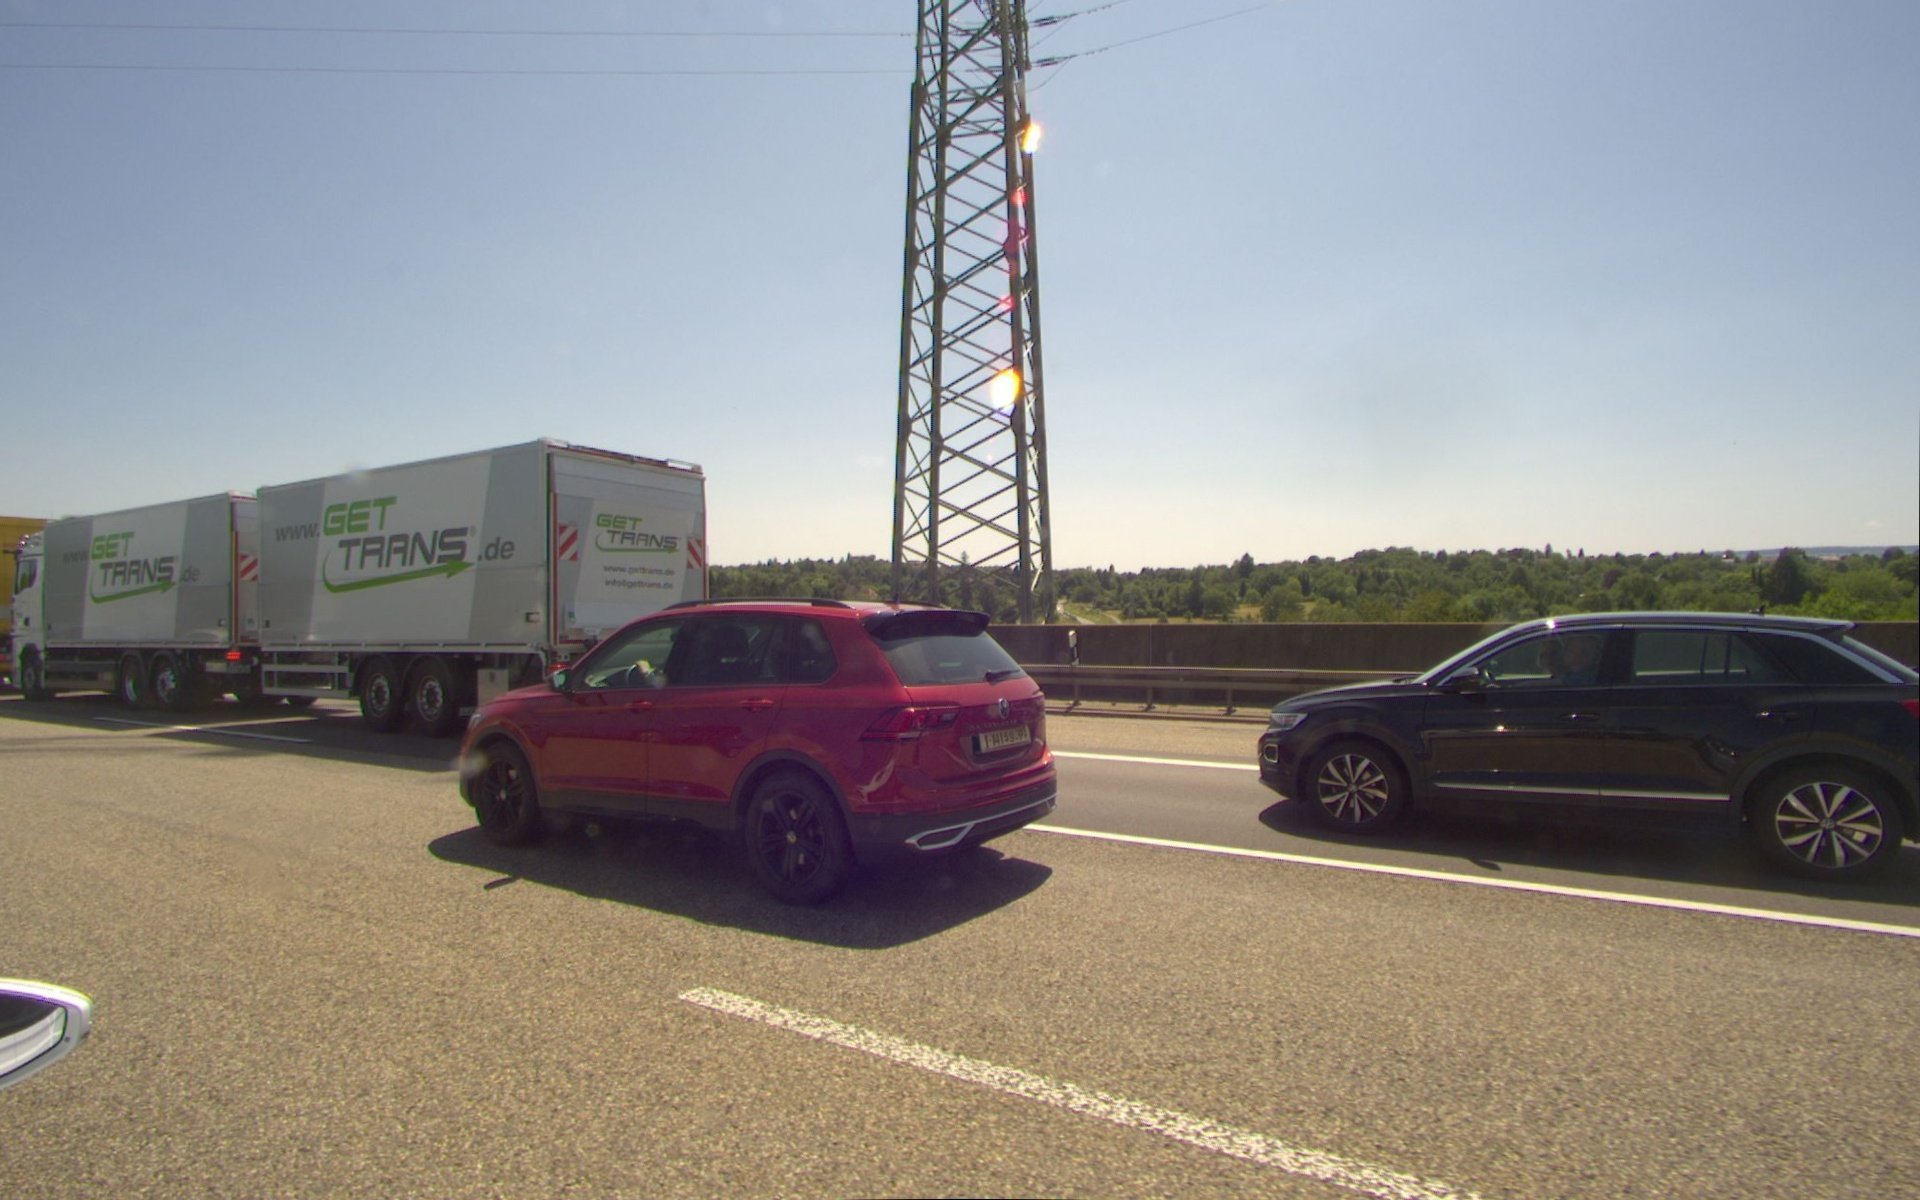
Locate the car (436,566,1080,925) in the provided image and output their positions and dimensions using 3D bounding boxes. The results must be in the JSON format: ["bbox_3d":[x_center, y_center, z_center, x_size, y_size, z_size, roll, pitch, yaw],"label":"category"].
[{"bbox_3d":[-1.481,0.773,6.639,4.226,1.700,1.705,-2,-3,34],"label":"car"}]

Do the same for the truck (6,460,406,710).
[{"bbox_3d":[-15.346,-0.061,19.968,10.459,3.984,2.847,-2,-2,32],"label":"truck"}]

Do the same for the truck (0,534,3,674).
[{"bbox_3d":[-33.184,0.203,31.037,9.797,4.139,2.695,-2,-2,32],"label":"truck"}]

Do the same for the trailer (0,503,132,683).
[{"bbox_3d":[-25.209,-0.019,26.208,8.850,4.139,2.679,-2,-2,31],"label":"trailer"}]

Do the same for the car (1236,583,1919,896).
[{"bbox_3d":[4.188,0.814,6.976,4.060,1.675,1.705,-2,-2,32],"label":"car"}]

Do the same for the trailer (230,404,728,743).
[{"bbox_3d":[-7.447,-0.168,15.033,8.098,3.940,2.894,-2,-2,32],"label":"trailer"}]
